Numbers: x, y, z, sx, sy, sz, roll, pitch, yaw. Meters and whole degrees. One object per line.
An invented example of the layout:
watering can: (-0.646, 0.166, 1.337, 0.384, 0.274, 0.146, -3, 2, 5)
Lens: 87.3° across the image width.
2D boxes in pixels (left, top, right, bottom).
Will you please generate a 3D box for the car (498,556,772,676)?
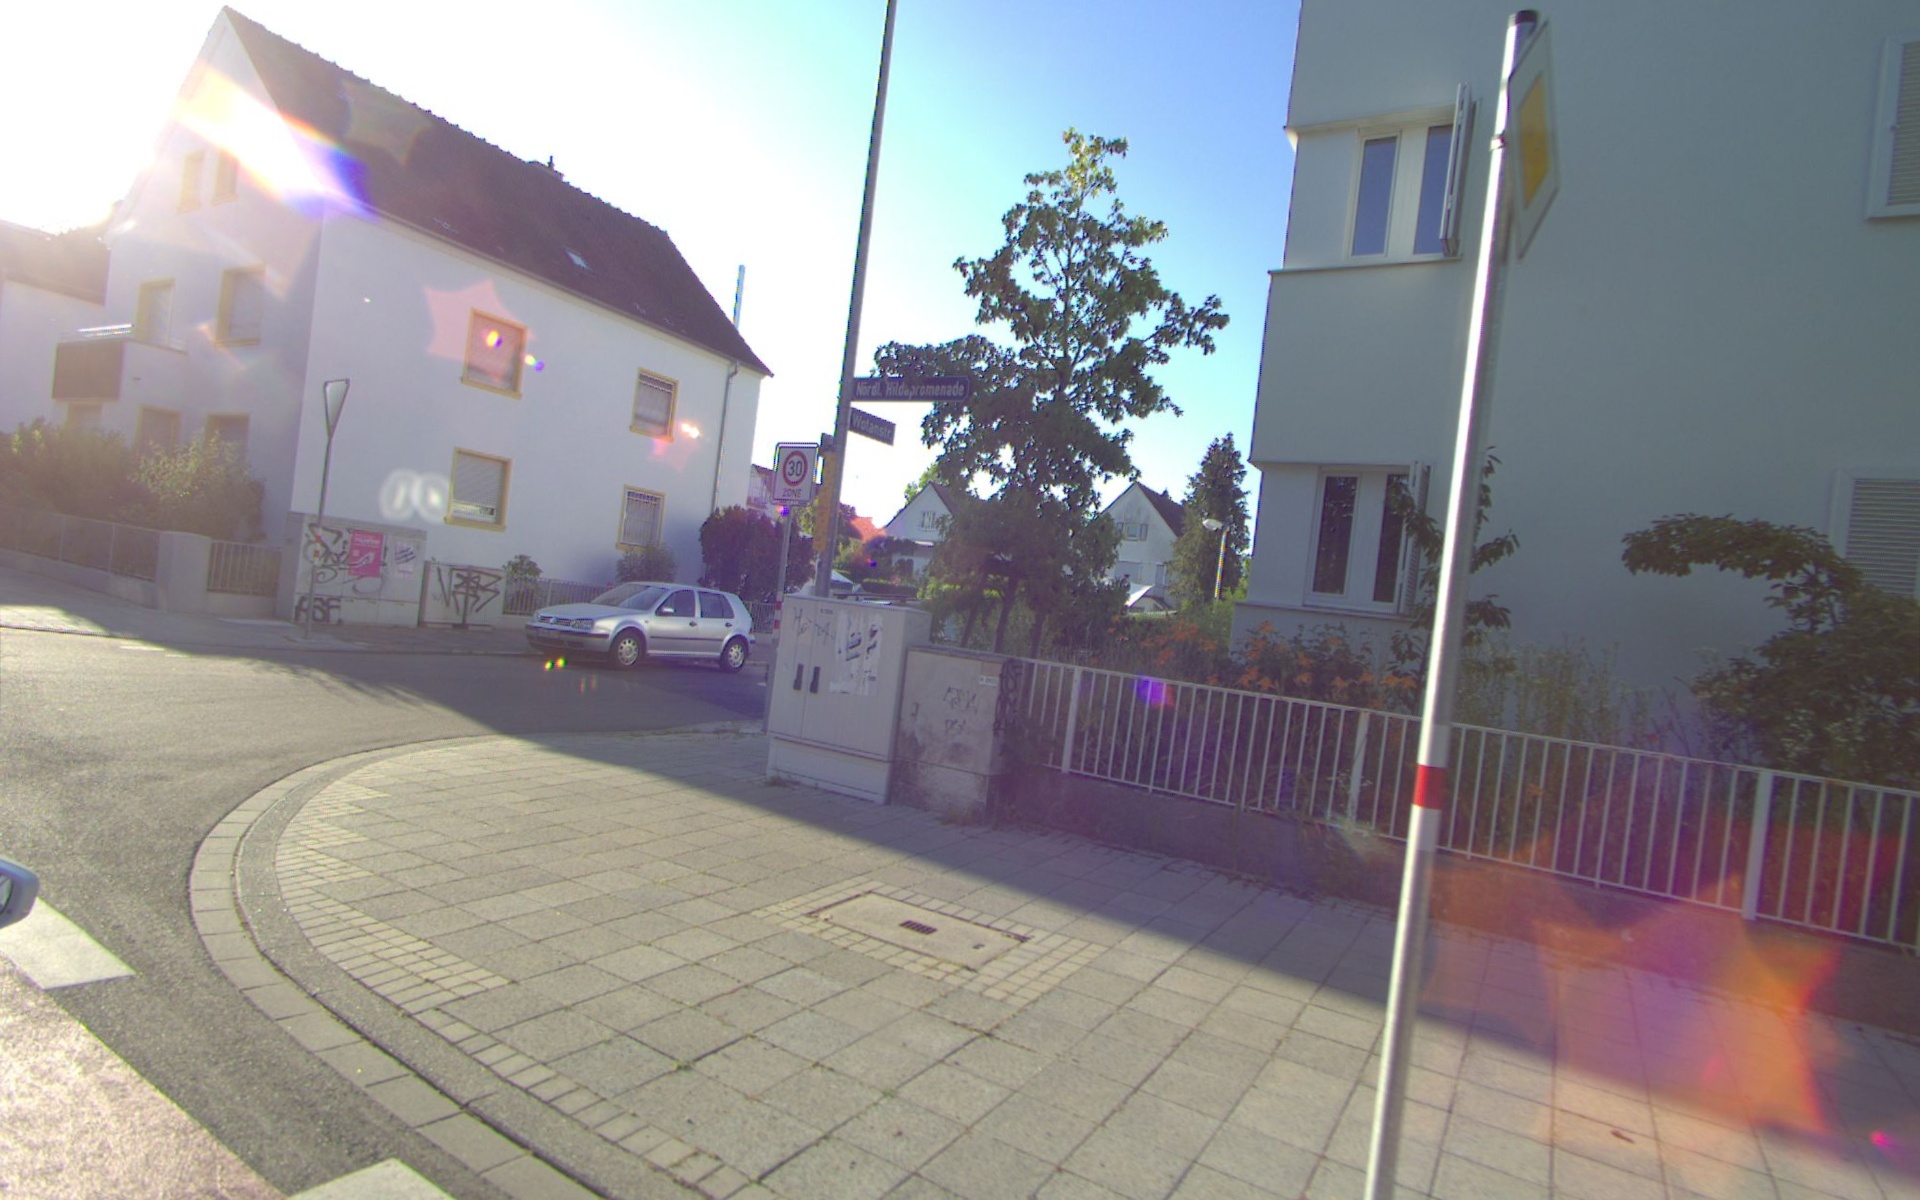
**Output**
car: (-5.285, 0.354, 16.901, 1.862, 1.486, 4.082, 6, -3, 29)

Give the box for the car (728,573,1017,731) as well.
car: (-1.025, 0.803, 13.995, 1.862, 1.708, 4.100, 6, -3, 29)

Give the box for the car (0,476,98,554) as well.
car: (-25.035, -2.337, 25.623, 1.821, 1.747, 4.225, 6, -1, 28)

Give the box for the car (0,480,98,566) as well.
car: (-23.186, -2.009, 23.431, 1.821, 1.745, 4.229, 6, -2, 28)
